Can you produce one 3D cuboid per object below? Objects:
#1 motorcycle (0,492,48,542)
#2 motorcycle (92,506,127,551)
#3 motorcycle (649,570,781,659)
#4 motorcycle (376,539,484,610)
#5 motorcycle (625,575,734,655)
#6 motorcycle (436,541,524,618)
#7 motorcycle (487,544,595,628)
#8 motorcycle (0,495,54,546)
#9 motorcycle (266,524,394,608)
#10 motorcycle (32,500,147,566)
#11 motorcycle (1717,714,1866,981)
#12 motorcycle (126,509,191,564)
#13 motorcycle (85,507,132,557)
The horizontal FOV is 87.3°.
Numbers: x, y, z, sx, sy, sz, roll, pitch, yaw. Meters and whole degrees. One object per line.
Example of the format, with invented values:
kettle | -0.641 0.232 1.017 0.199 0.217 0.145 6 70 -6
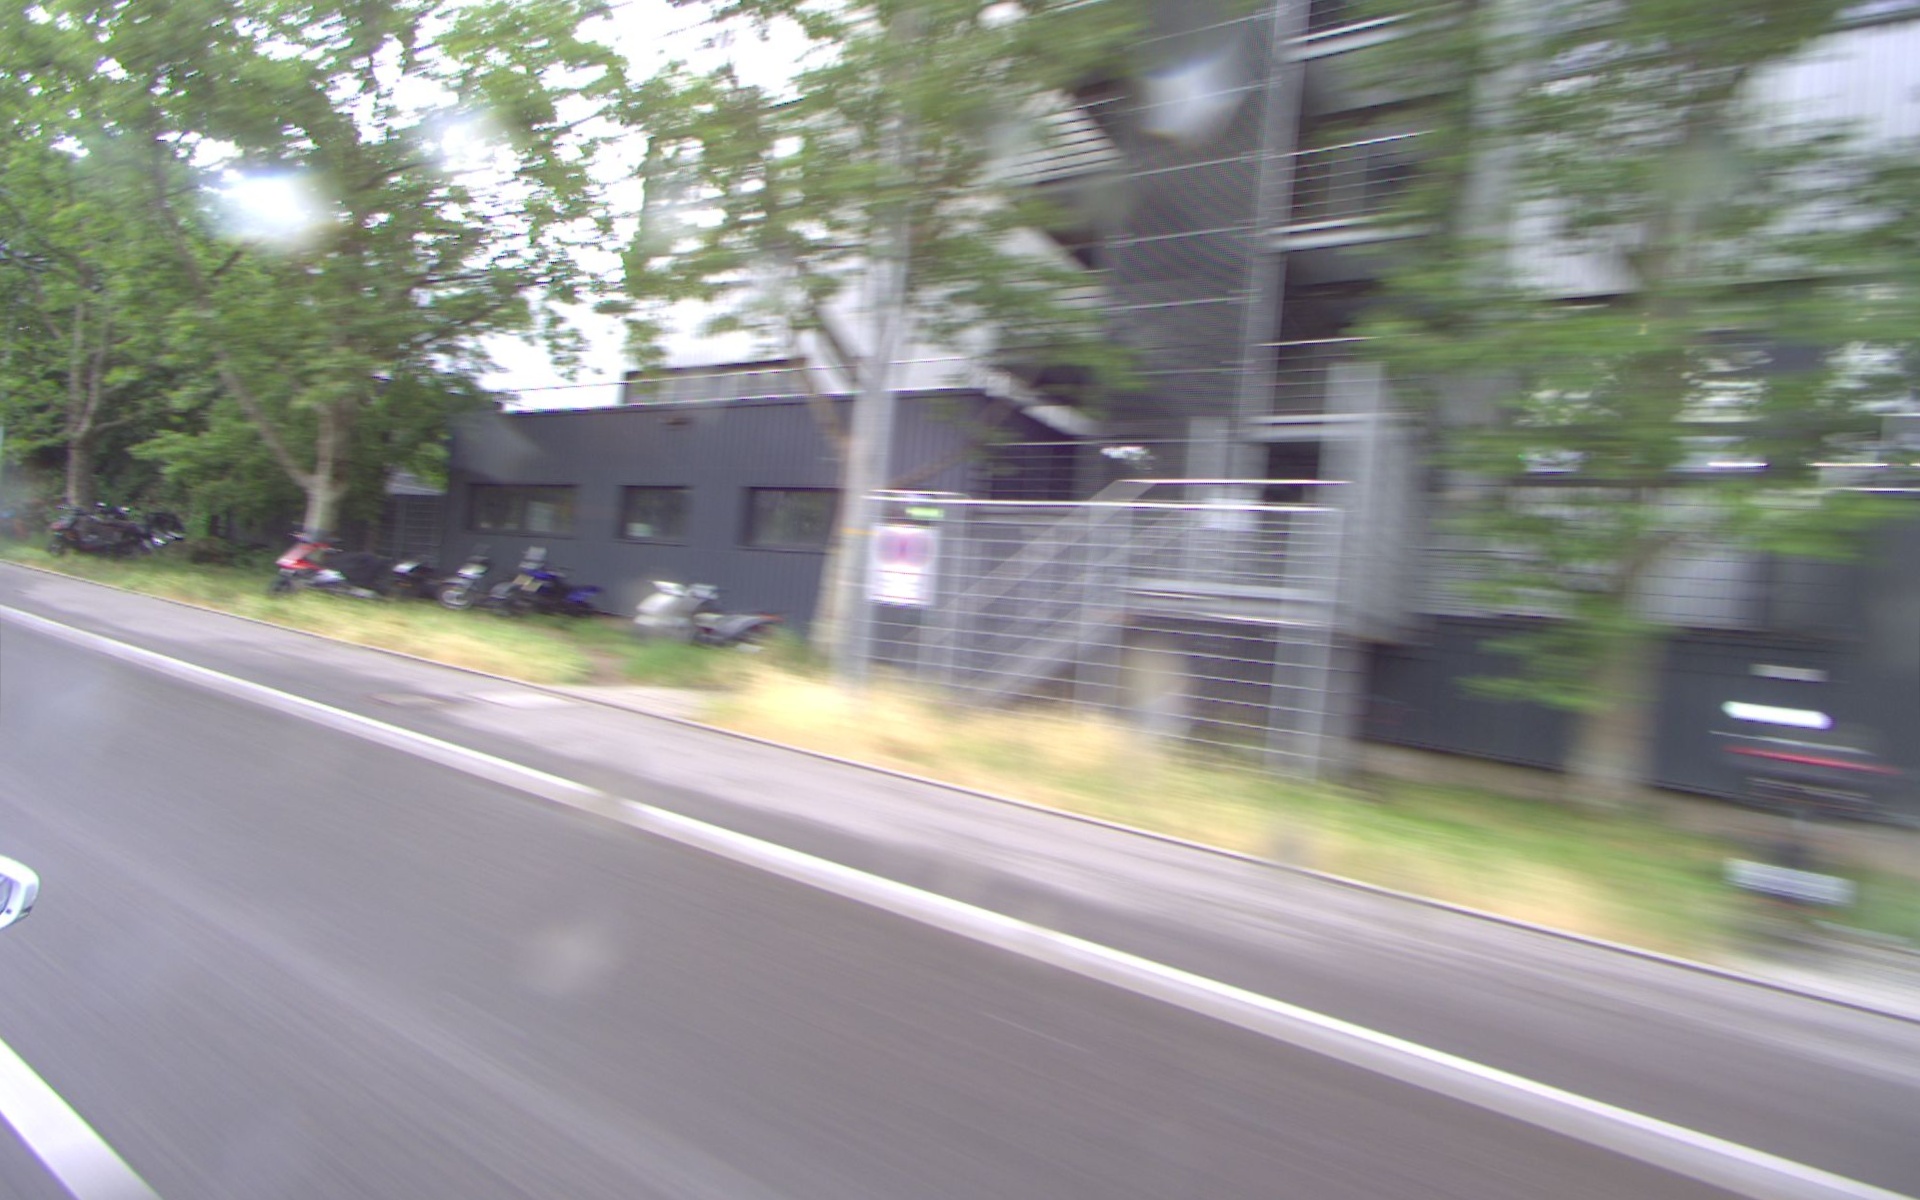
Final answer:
motorcycle | -27.234 -2.418 28.617 1.821 1.268 0.629 7 1 -4
motorcycle | -25.890 -2.176 30.638 0.345 1.295 2.054 6 1 -30
motorcycle | -3.839 0.235 15.796 1.861 1.159 0.478 7 -1 12
motorcycle | -11.352 -0.527 21.612 0.484 1.272 1.915 6 -2 37
motorcycle | -4.777 0.276 17.195 0.552 1.159 1.637 6 -2 42
motorcycle | -9.778 -0.403 20.555 0.497 1.380 1.503 6 -2 26
motorcycle | -8.067 -0.242 19.472 0.497 1.380 1.934 6 -2 26
motorcycle | -26.022 -2.204 27.407 0.618 1.268 1.854 7 0 16
motorcycle | -10.551 -0.553 16.906 0.486 1.163 1.653 6 -2 39
motorcycle | -19.004 -1.437 22.016 0.512 1.206 1.854 7 0 16
motorcycle | 5.001 1.360 5.997 0.435 1.289 2.003 7 1 43
motorcycle | -21.518 -1.711 26.990 1.958 1.295 0.646 6 1 31
motorcycle | -23.794 -1.901 28.133 0.515 1.295 1.841 6 1 -27
